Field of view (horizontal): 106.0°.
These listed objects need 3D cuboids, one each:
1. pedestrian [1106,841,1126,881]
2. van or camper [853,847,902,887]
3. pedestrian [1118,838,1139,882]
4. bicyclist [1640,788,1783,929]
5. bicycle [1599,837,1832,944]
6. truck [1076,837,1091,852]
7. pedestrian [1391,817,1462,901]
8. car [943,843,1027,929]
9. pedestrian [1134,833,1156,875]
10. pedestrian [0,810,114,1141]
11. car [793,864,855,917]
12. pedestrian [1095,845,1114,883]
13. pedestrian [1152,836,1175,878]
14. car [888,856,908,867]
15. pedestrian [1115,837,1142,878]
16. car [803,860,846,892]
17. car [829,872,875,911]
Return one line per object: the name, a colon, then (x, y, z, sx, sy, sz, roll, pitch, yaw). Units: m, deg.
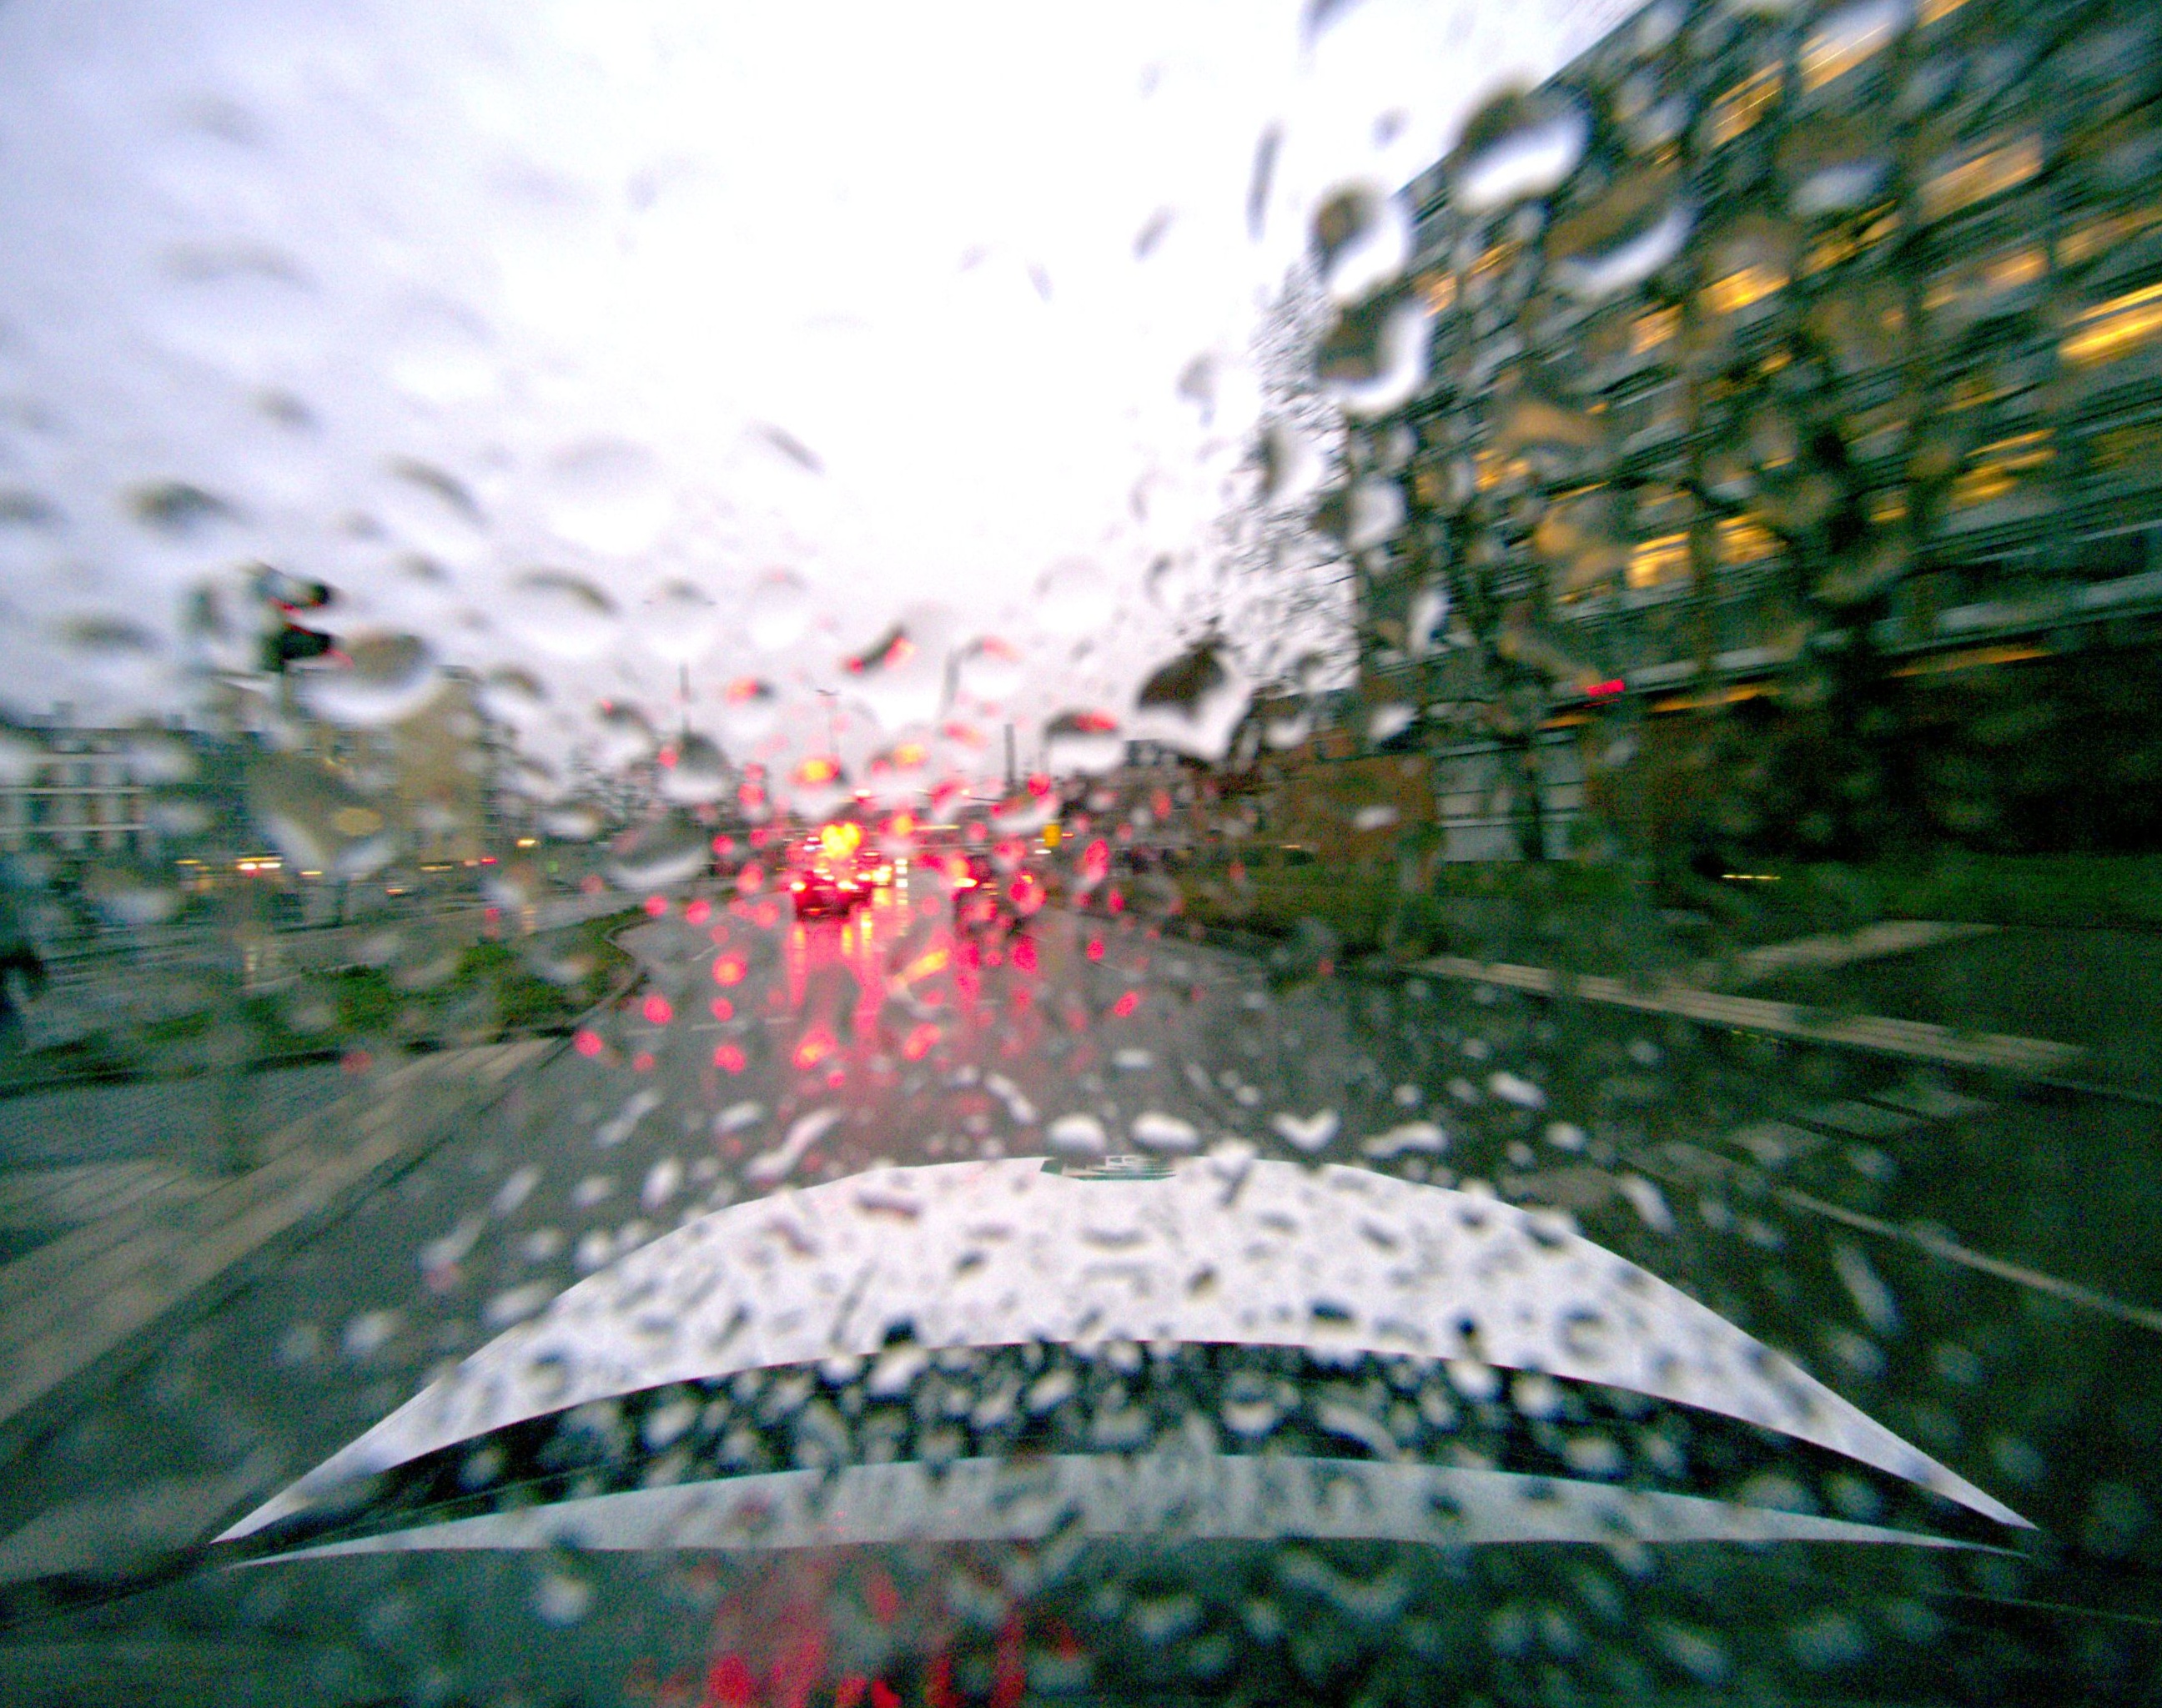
pedestrian: (1.848, 0.351, 42.764, 0.801, 2.013, 0.763, -1, 2, 15)
van or camper: (-11.868, 0.729, 47.784, 2.200, 2.109, 4.974, -2, 0, -8)
pedestrian: (1.986, 0.236, 33.960, 0.579, 1.781, 0.772, -5, 0, 16)
bicyclist: (7.944, 0.052, 10.299, 0.806, 1.618, 1.079, -6, 2, -19)
bicycle: (7.958, 0.418, 10.378, 0.806, 1.141, 2.200, -6, 2, -18)
truck: (0.528, -1.861, 158.924, 1.982, 2.691, 5.128, -3, 0, 9)
pedestrian: (7.423, 0.100, 17.540, 0.809, 1.687, 1.065, -5, 0, -15)
car: (-2.353, 0.680, 20.051, 1.776, 1.800, 4.414, -2, 1, -7)
pedestrian: (2.638, 0.002, 33.713, 0.662, 1.687, 0.614, -5, 2, 15)
pedestrian: (-7.010, 0.751, 5.048, 0.837, 2.005, 1.117, 0, 3, 33)
car: (-8.086, 1.088, 25.901, 1.704, 1.482, 3.852, 0, 0, -15)
pedestrian: (1.245, 0.534, 42.707, 0.801, 1.929, 0.763, -1, 2, 15)
pedestrian: (3.450, 0.131, 34.038, 0.712, 1.687, 0.763, -3, 0, 15)
car: (-26.302, 1.103, 117.333, 1.807, 1.446, 4.000, -3, 0, 0)
pedestrian: (2.169, 0.157, 36.937, 0.857, 1.791, 0.741, -3, 0, -34)
car: (-15.516, 1.307, 49.476, 1.884, 1.772, 3.987, -2, 0, -9)
car: (-9.321, 1.492, 33.351, 1.661, 1.404, 4.100, -1, 0, -14)
